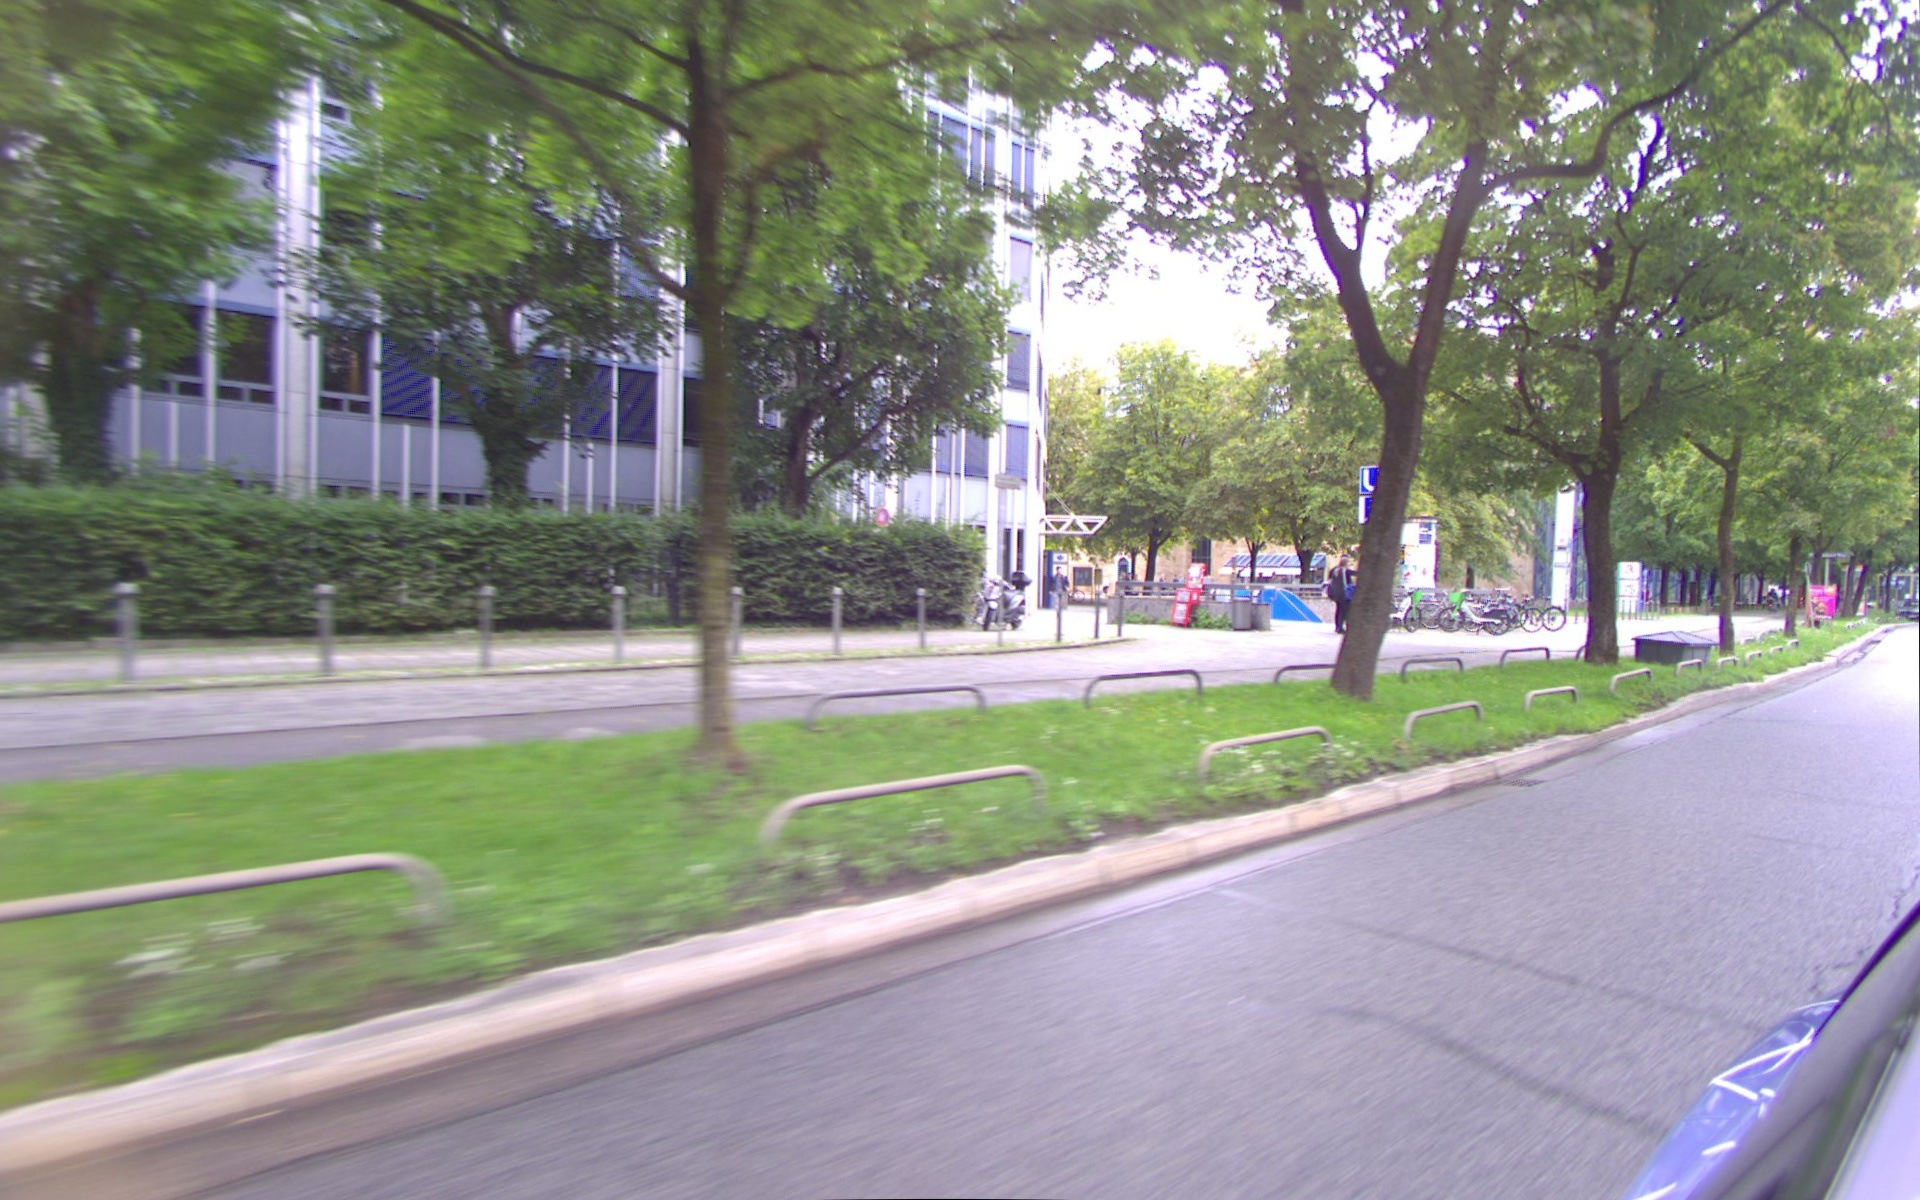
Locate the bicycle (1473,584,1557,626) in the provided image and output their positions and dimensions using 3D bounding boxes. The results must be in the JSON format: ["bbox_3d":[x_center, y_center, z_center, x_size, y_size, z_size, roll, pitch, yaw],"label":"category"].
[{"bbox_3d":[16.294,0.135,29.763,2.006,1.102,0.604,3,4,7],"label":"bicycle"}]

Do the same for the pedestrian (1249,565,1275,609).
[{"bbox_3d":[12.617,-0.551,42.274,0.754,1.794,0.690,1,1,-28],"label":"pedestrian"}]

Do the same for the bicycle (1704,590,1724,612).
[{"bbox_3d":[44.265,0.034,59.403,0.621,1.266,1.889,3,2,44],"label":"bicycle"}]

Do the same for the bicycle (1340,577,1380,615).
[{"bbox_3d":[14.258,-0.160,36.048,0.508,1.310,2.442,2,2,41],"label":"bicycle"}]

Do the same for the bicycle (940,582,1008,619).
[{"bbox_3d":[0.362,0.026,25.280,1.803,0.864,0.553,2,1,-43],"label":"bicycle"}]

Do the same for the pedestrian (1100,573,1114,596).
[{"bbox_3d":[11.167,-1.180,76.721,0.850,1.699,0.588,1,1,-39],"label":"pedestrian"}]

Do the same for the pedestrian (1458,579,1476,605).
[{"bbox_3d":[33.145,-0.541,66.173,0.864,1.666,0.571,2,1,7],"label":"pedestrian"}]

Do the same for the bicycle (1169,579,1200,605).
[{"bbox_3d":[11.254,-0.403,50.658,0.552,1.276,2.143,2,2,41],"label":"bicycle"}]

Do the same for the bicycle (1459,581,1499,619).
[{"bbox_3d":[16.888,0.000,32.893,1.920,1.203,0.488,0,2,-42],"label":"bicycle"}]

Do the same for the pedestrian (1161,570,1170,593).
[{"bbox_3d":[15.479,-1.404,76.129,0.584,1.699,0.501,2,1,13],"label":"pedestrian"}]

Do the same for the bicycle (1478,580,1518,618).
[{"bbox_3d":[17.264,-0.036,32.445,1.920,1.203,0.488,0,2,-42],"label":"bicycle"}]

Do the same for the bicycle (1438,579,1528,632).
[{"bbox_3d":[13.688,0.126,26.539,1.929,1.203,0.594,5,2,18],"label":"bicycle"}]

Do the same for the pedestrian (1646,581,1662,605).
[{"bbox_3d":[49.621,-0.519,72.327,0.737,1.665,0.849,4,4,43],"label":"pedestrian"}]

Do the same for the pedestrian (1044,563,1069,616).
[{"bbox_3d":[3.199,-0.355,33.589,0.685,1.699,0.654,1,1,-3],"label":"pedestrian"}]

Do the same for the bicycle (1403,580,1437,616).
[{"bbox_3d":[15.854,-0.082,34.851,0.445,1.203,2.110,2,2,41],"label":"bicycle"}]

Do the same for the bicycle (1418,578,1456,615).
[{"bbox_3d":[16.108,-0.108,34.155,1.920,1.203,0.446,0,2,-42],"label":"bicycle"}]

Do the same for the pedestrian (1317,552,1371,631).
[{"bbox_3d":[8.671,-0.193,22.867,0.735,1.735,0.787,1,1,-25],"label":"pedestrian"}]

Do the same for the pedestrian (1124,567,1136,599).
[{"bbox_3d":[8.120,-0.809,48.368,0.386,1.510,0.385,1,1,-31],"label":"pedestrian"}]

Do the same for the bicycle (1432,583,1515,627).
[{"bbox_3d":[14.315,0.132,28.243,1.921,1.096,0.596,4,1,7],"label":"bicycle"}]

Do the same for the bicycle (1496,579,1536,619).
[{"bbox_3d":[17.617,-0.038,32.062,1.920,1.203,0.488,0,2,-42],"label":"bicycle"}]

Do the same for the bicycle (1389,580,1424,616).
[{"bbox_3d":[15.625,-0.081,35.403,0.511,1.203,2.110,2,2,41],"label":"bicycle"}]

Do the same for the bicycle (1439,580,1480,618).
[{"bbox_3d":[16.453,-0.025,33.318,1.920,1.203,0.488,0,2,-42],"label":"bicycle"}]

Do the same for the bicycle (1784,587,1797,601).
[{"bbox_3d":[74.203,-0.516,90.441,2.104,1.207,0.512,-1,2,-41],"label":"bicycle"}]

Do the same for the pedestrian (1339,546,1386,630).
[{"bbox_3d":[9.341,-0.285,23.489,0.734,1.923,0.654,1,1,-30],"label":"pedestrian"}]

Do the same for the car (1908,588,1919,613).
[{"bbox_3d":[65.424,0.040,68.150,4.523,1.610,1.864,0,2,-42],"label":"car"}]

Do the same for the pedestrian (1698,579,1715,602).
[{"bbox_3d":[55.786,-0.714,75.613,0.631,1.665,0.741,1,3,-19],"label":"pedestrian"}]

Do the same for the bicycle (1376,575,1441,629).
[{"bbox_3d":[11.148,0.068,25.146,1.825,1.241,0.532,2,2,-35],"label":"bicycle"}]

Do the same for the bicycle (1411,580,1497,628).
[{"bbox_3d":[13.418,0.105,27.517,1.921,1.122,0.579,5,2,7],"label":"bicycle"}]

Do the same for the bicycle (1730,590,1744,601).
[{"bbox_3d":[70.546,-0.399,91.835,2.028,0.952,0.571,-1,2,-41],"label":"bicycle"}]

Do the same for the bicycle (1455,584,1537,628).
[{"bbox_3d":[15.323,0.169,28.972,1.921,1.078,0.579,4,3,7],"label":"bicycle"}]

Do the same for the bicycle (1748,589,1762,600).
[{"bbox_3d":[71.821,-0.470,91.429,1.731,0.952,0.618,0,2,-41],"label":"bicycle"}]

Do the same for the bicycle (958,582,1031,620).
[{"bbox_3d":[0.856,0.025,24.603,1.803,0.864,0.683,2,1,-43],"label":"bicycle"}]

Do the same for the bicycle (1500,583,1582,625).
[{"bbox_3d":[17.611,0.119,30.713,1.997,1.112,0.580,3,4,7],"label":"bicycle"}]

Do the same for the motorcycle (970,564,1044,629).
[{"bbox_3d":[1.057,-0.084,22.071,0.547,1.335,2.047,2,2,36],"label":"motorcycle"}]
